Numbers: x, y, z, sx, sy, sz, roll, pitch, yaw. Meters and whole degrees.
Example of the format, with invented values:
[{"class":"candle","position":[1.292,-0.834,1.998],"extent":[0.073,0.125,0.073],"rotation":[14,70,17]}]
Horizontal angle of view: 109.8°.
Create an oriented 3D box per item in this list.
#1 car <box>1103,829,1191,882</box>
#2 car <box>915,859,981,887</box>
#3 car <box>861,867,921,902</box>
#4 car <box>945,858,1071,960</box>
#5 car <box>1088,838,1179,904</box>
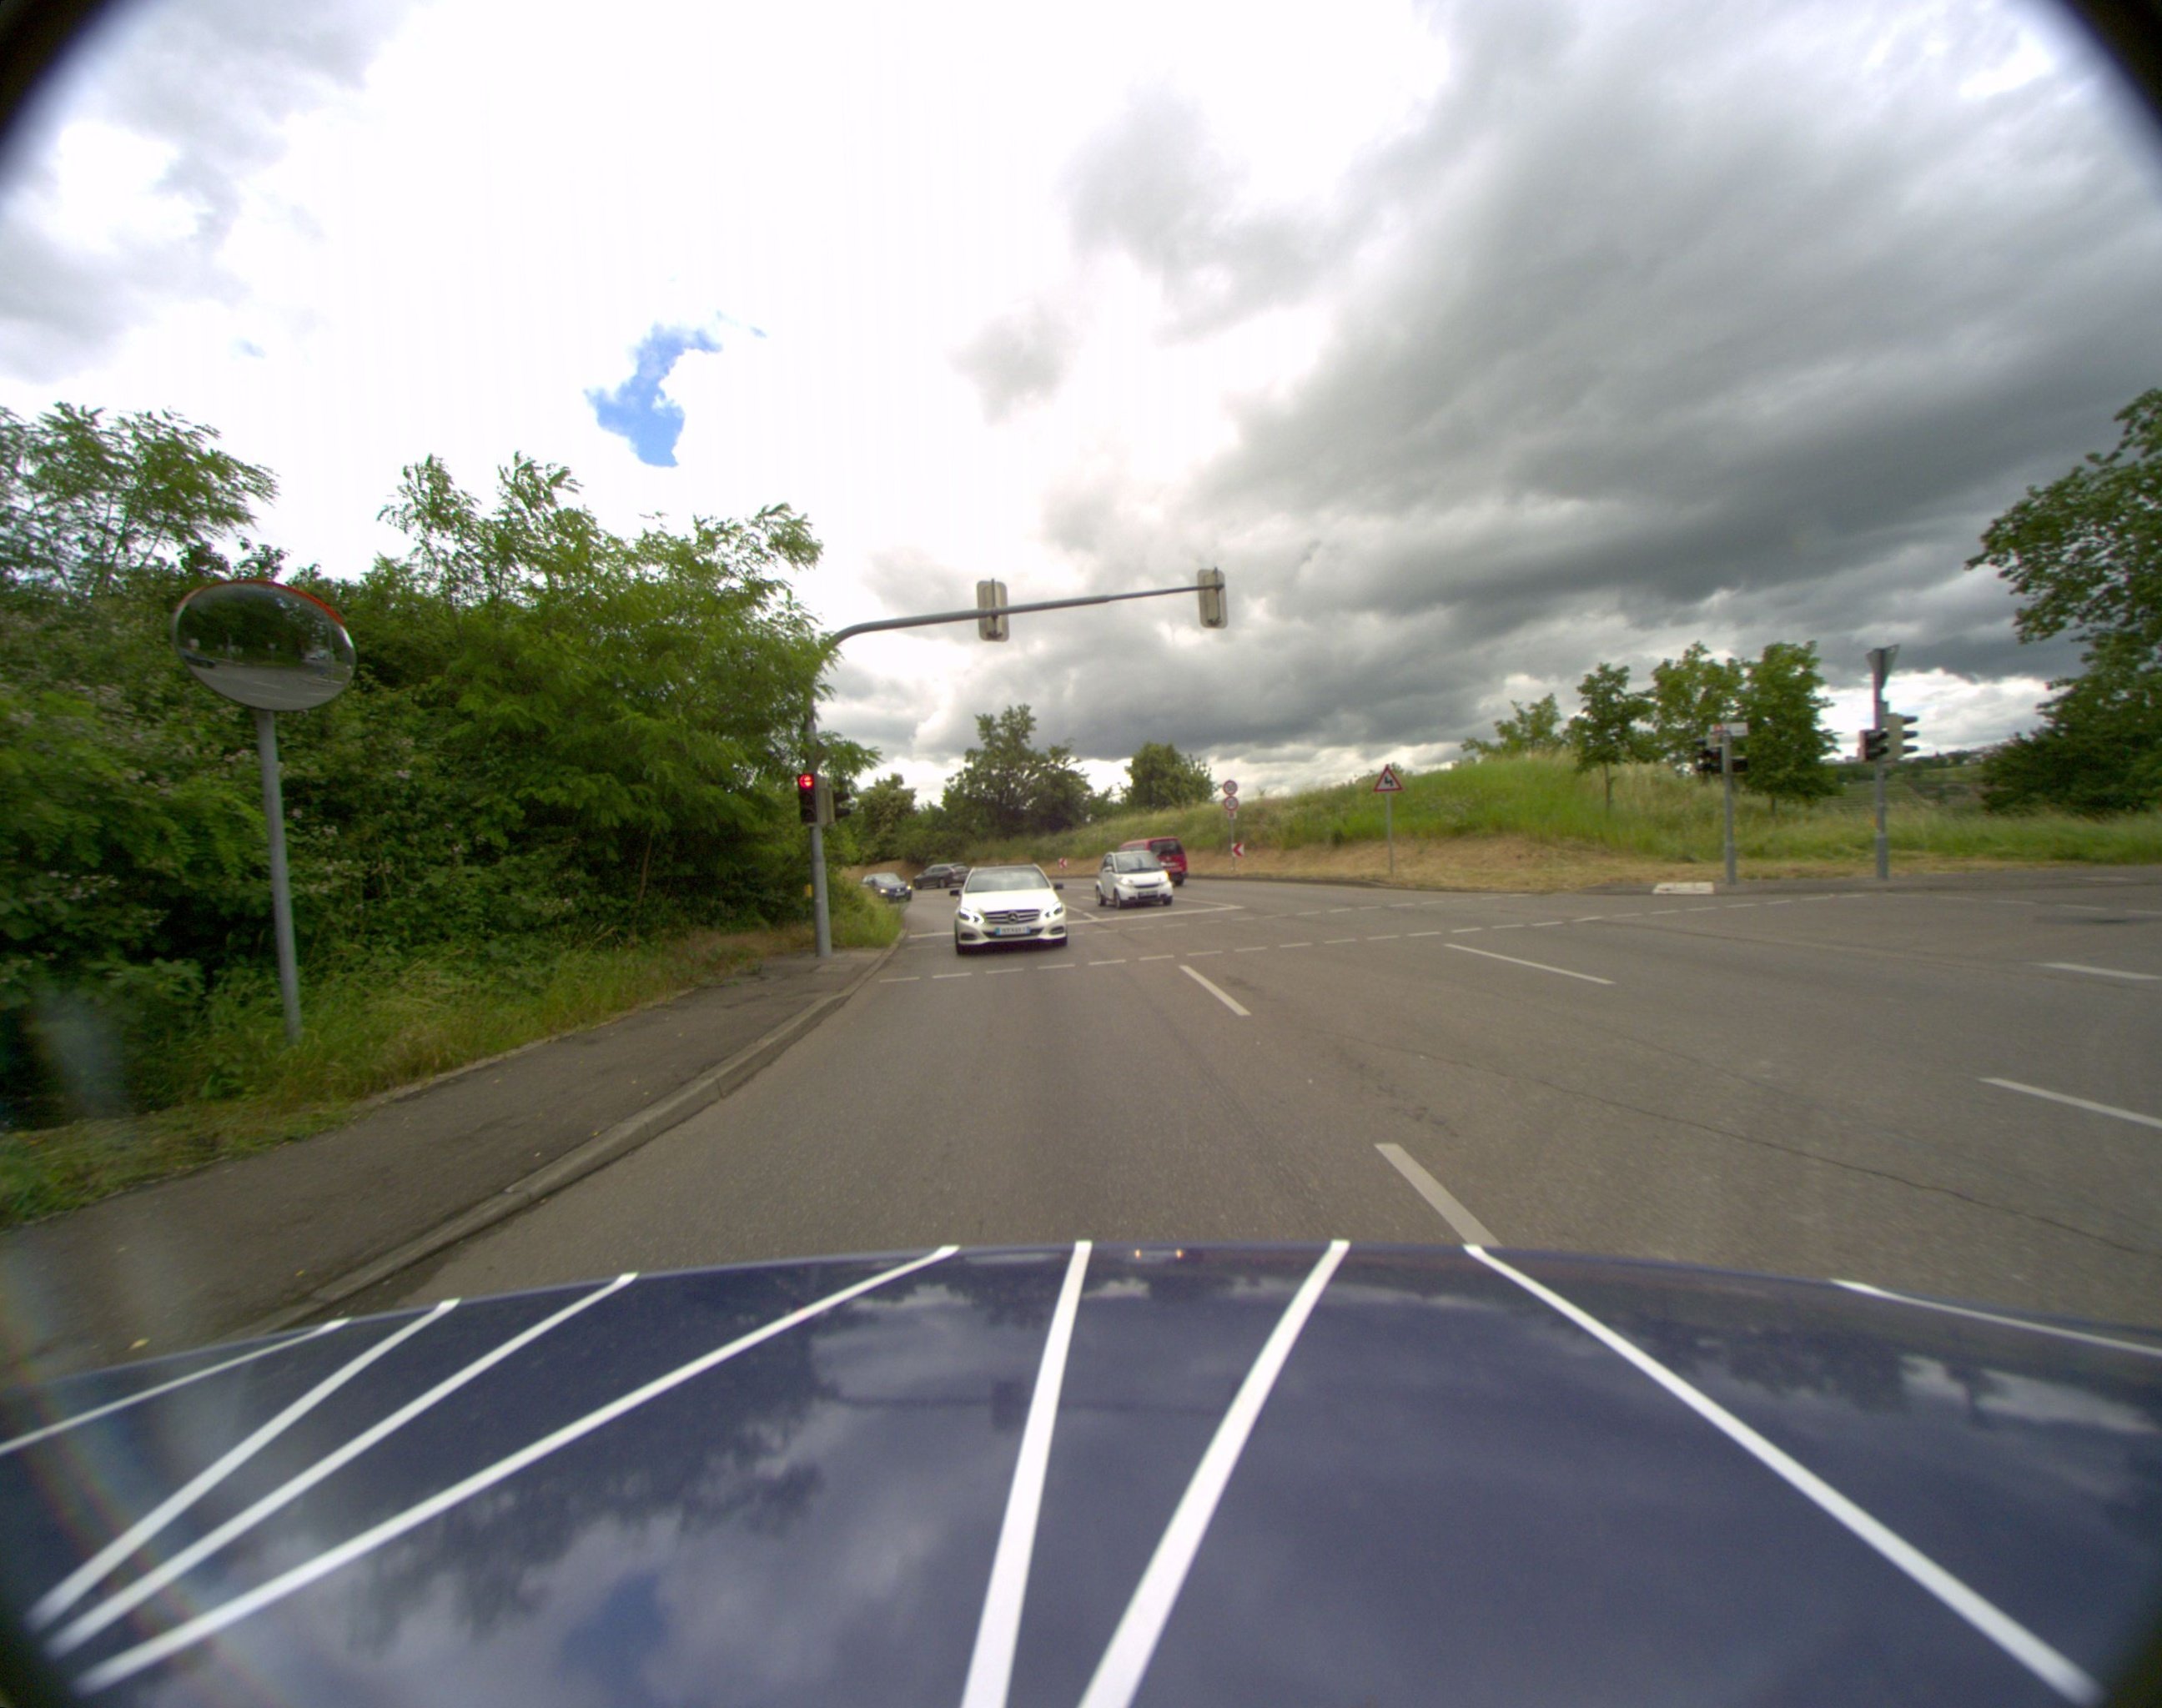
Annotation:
[{"class":"car","position":[2.440,0.038,29.399],"extent":[1.694,1.815,4.719],"rotation":[-4,1,-16]},{"class":"car","position":[-8.382,1.215,47.643],"extent":[1.773,1.412,4.410],"rotation":[-7,2,-44]},{"class":"car","position":[-9.735,1.513,38.747],"extent":[1.826,1.536,3.717],"rotation":[-4,1,-31]},{"class":"car","position":[-1.170,0.881,13.960],"extent":[1.887,1.414,3.999],"rotation":[-3,1,0]},{"class":"car","position":[1.388,0.453,21.068],"extent":[1.581,1.548,3.013],"rotation":[-6,1,-12]}]
